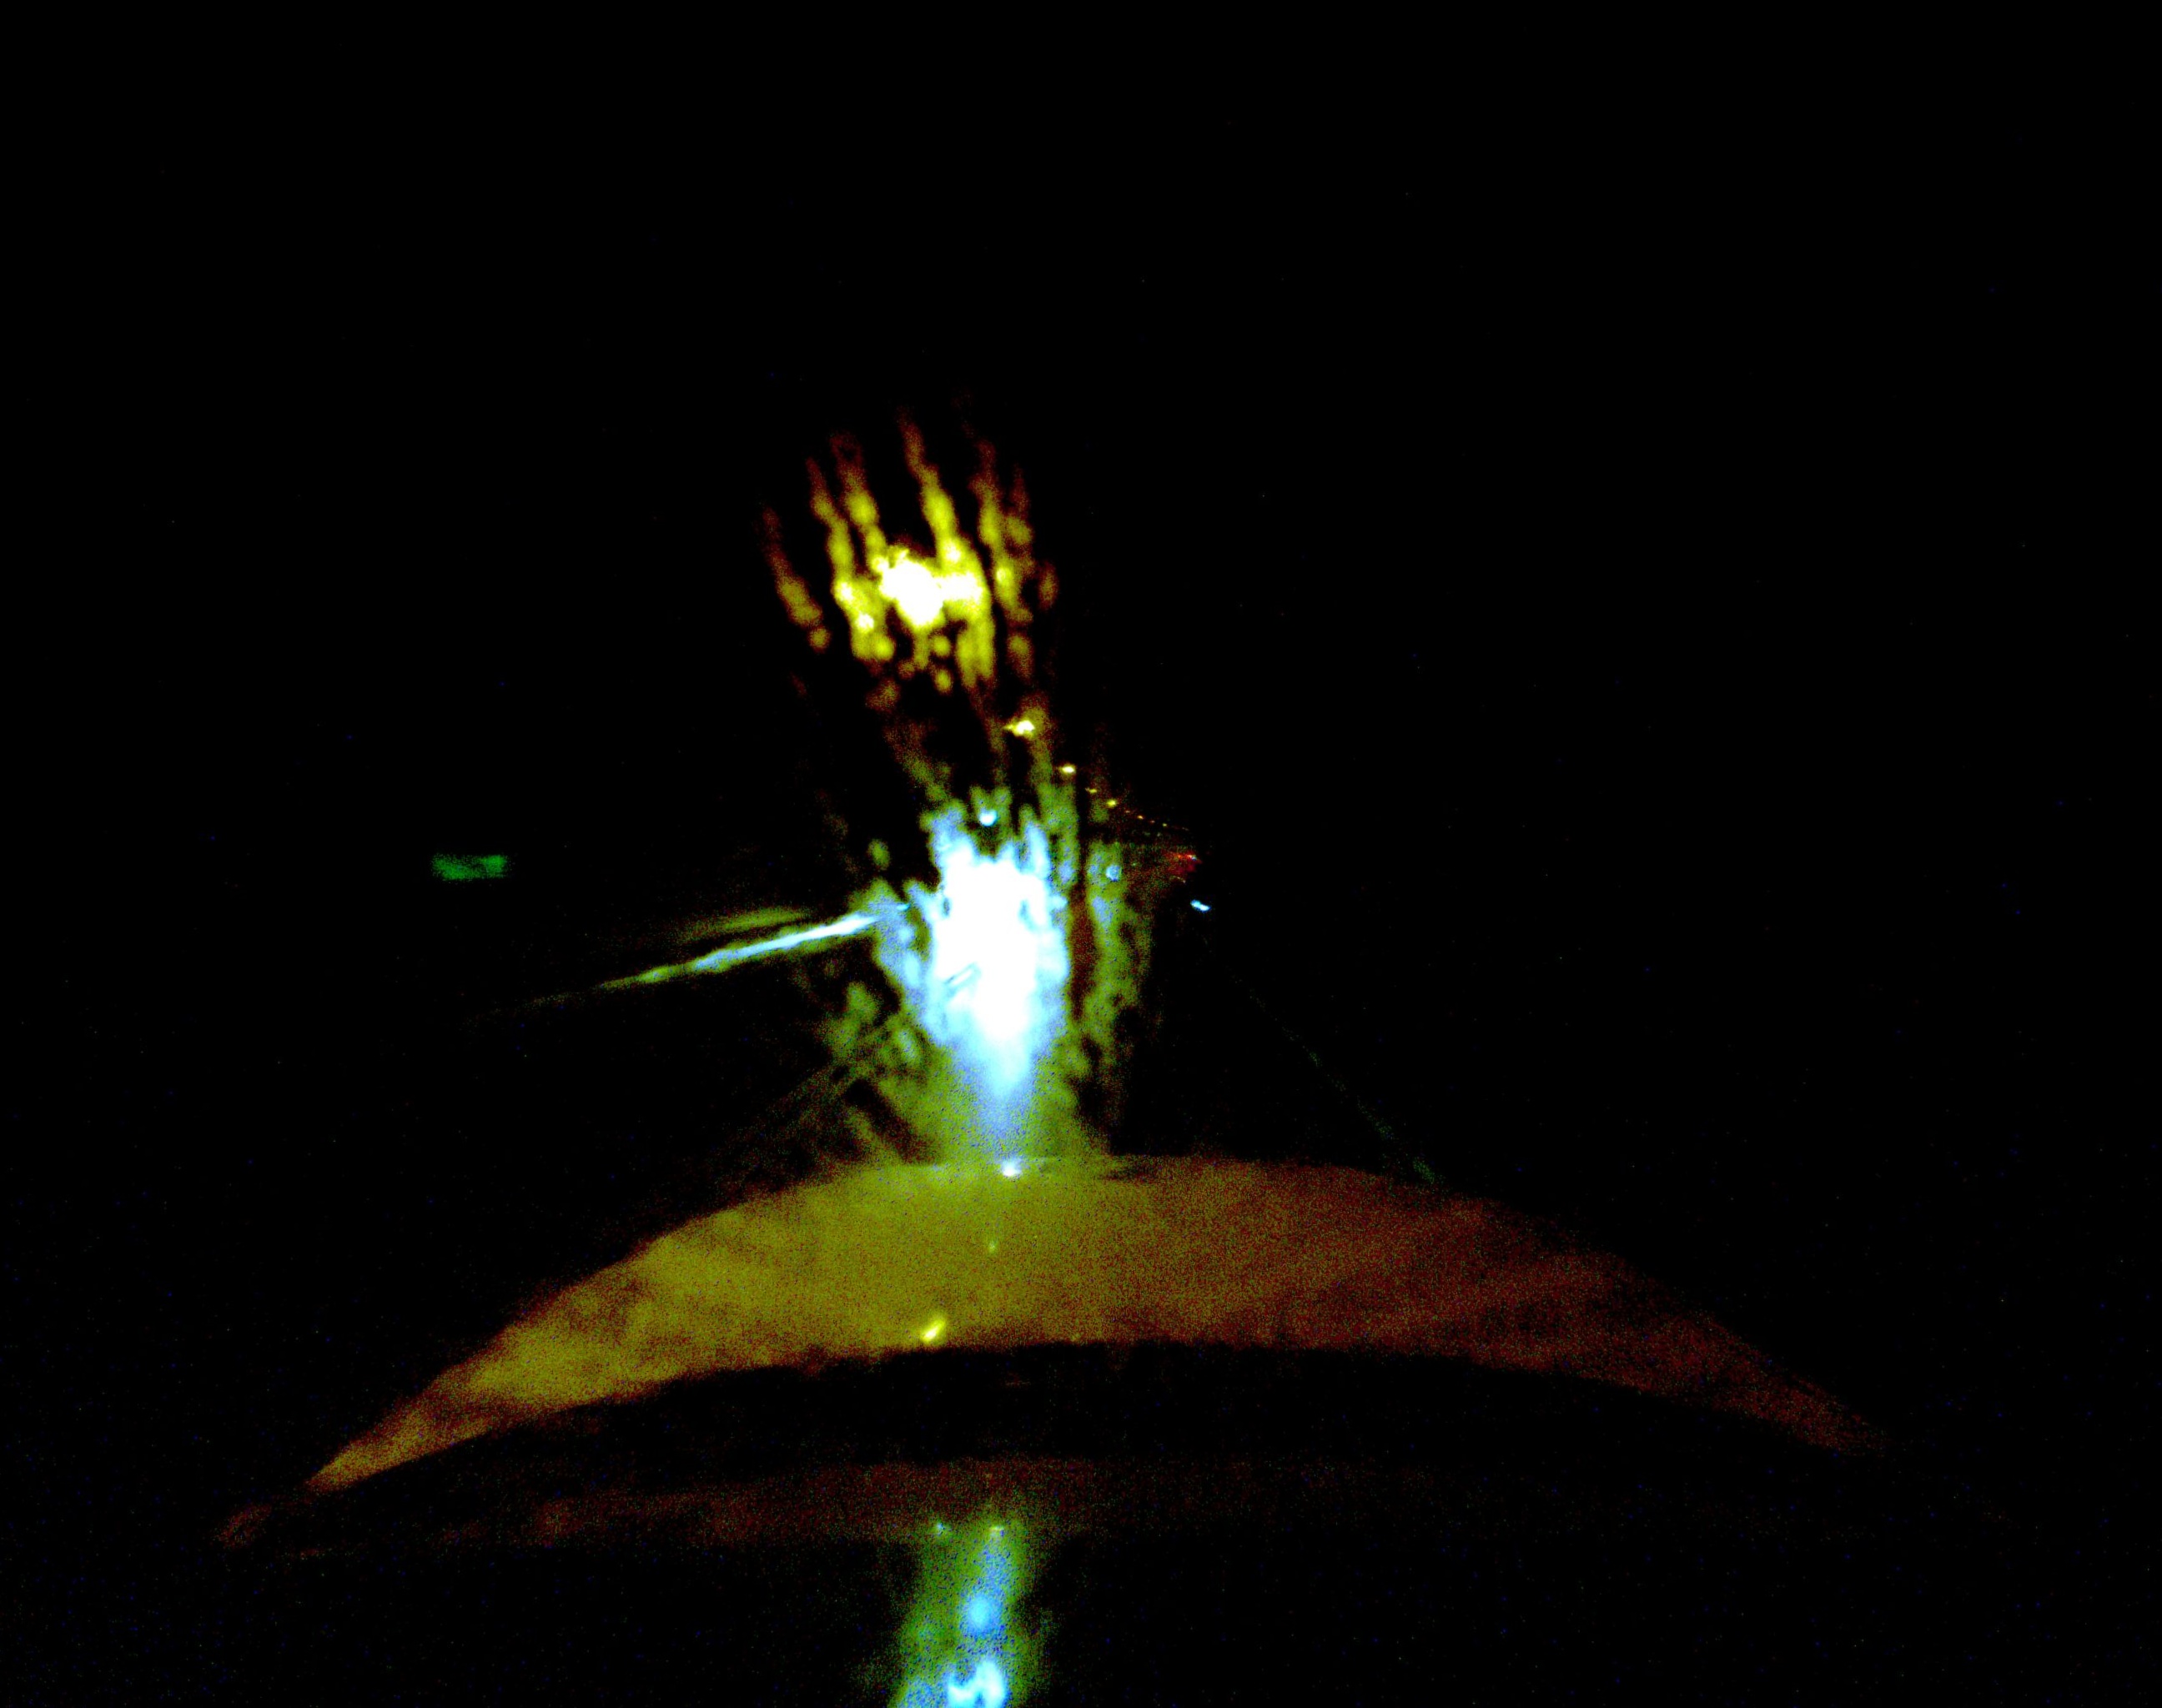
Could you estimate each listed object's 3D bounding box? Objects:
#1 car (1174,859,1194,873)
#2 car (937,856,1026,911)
[{"bbox_3d":[12.715,1.452,100.343,1.980,1.650,4.013,0,0,12],"label":"car"},{"bbox_3d":[-2.729,0.760,23.413,1.705,1.378,4.589,1,0,3],"label":"car"}]
